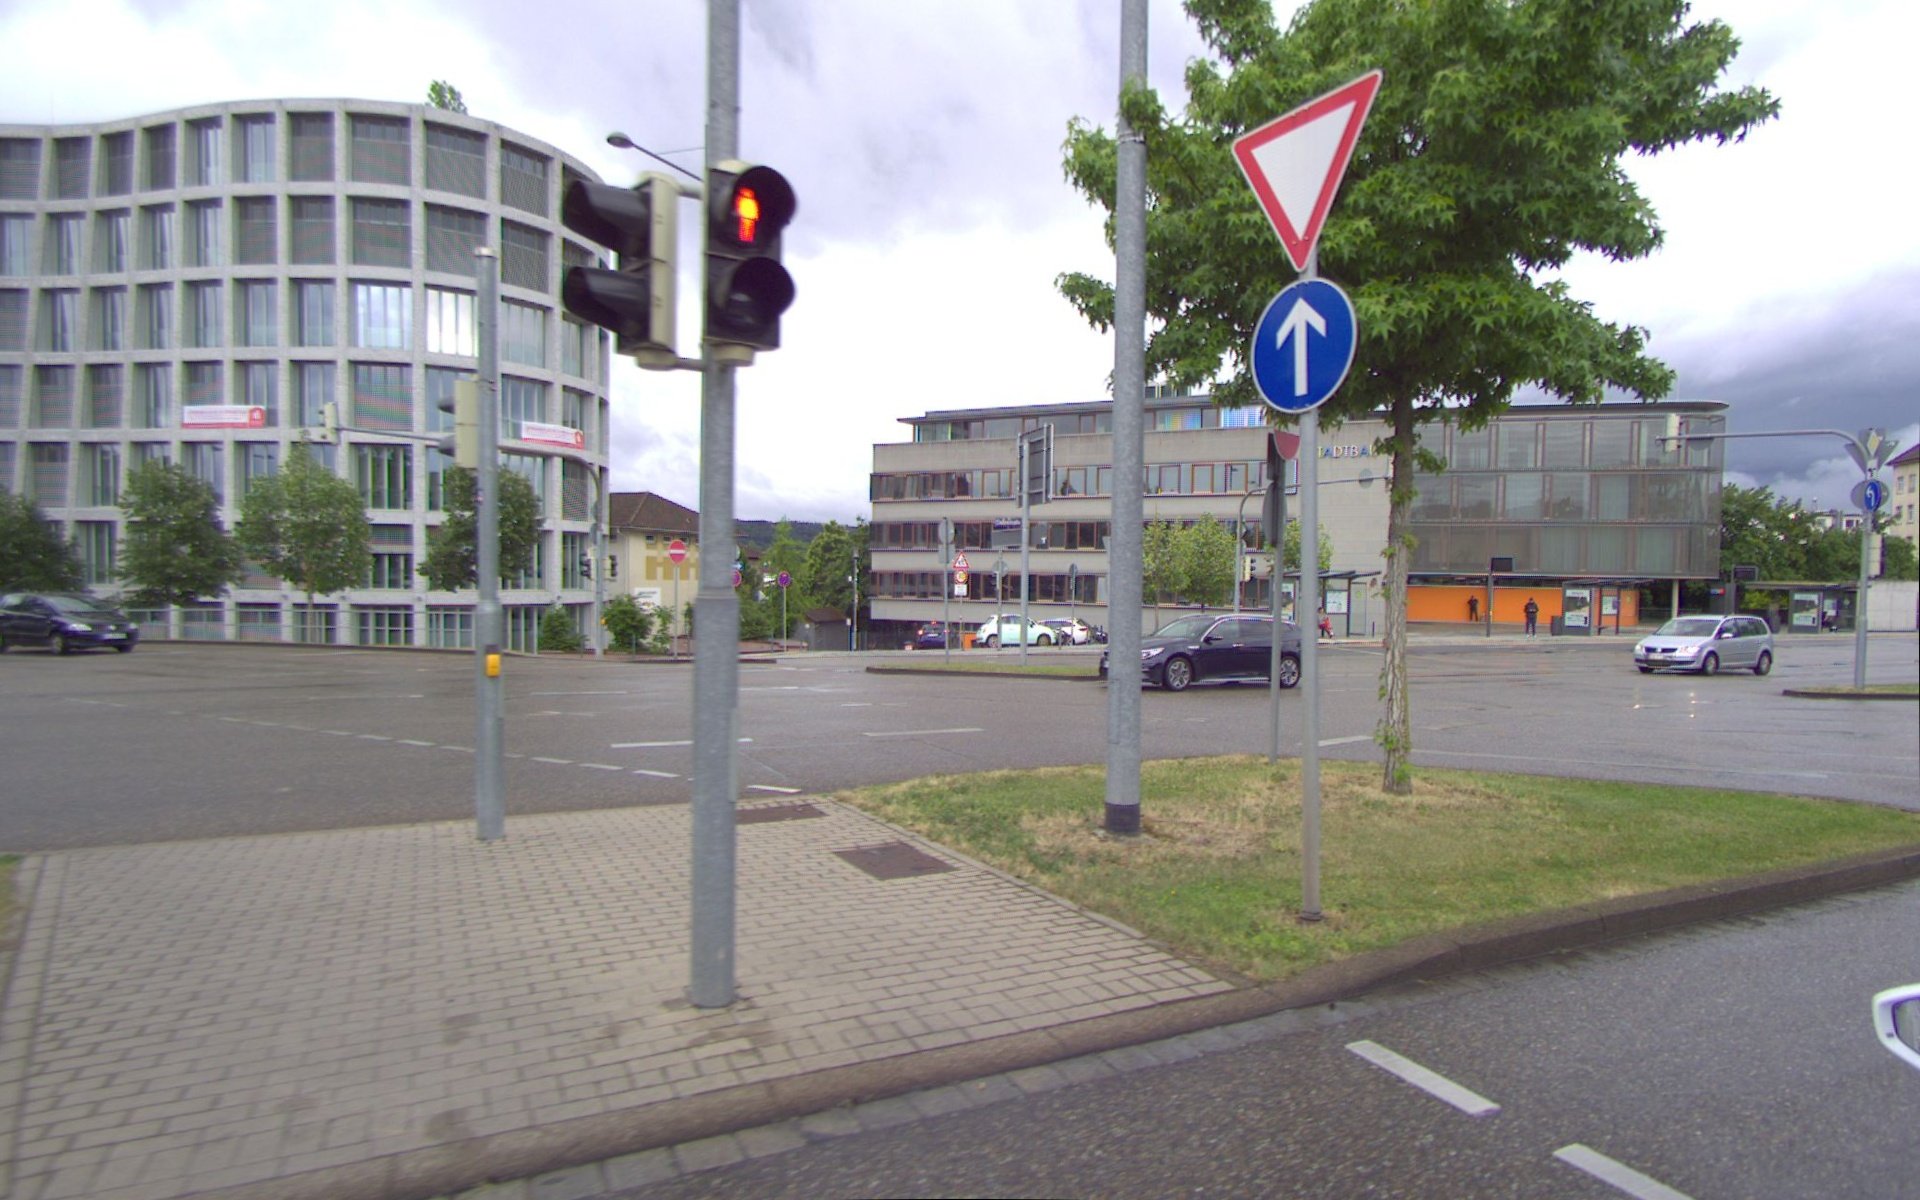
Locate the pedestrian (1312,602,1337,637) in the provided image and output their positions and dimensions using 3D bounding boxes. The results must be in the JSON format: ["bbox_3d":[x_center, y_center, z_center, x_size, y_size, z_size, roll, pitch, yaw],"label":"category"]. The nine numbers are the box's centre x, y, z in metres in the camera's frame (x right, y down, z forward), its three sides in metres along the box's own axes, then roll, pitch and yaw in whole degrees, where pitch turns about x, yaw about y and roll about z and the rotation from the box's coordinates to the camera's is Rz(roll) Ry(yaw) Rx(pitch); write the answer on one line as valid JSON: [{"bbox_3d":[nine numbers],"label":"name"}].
[{"bbox_3d":[15.098,0.794,41.614,0.712,1.411,0.675,1,0,-28],"label":"pedestrian"}]

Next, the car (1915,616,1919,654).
[{"bbox_3d":[42.346,1.478,42.256,3.978,1.573,1.817,1,0,-25],"label":"car"}]

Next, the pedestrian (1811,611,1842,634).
[{"bbox_3d":[49.898,1.292,57.854,0.833,1.285,0.978,0,4,-5],"label":"pedestrian"}]

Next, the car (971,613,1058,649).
[{"bbox_3d":[2.368,1.341,44.122,3.519,1.515,1.629,1,0,-11],"label":"car"}]

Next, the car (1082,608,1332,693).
[{"bbox_3d":[5.022,0.970,20.316,4.853,1.524,1.841,1,0,-26],"label":"car"}]

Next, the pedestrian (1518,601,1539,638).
[{"bbox_3d":[26.504,0.922,46.814,0.751,1.706,0.473,0,0,-20],"label":"pedestrian"}]

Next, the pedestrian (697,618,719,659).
[{"bbox_3d":[-10.061,1.542,40.075,0.696,1.604,0.668,1,0,-28],"label":"pedestrian"}]

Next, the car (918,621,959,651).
[{"bbox_3d":[-1.047,1.763,49.908,1.453,1.369,3.584,1,0,8],"label":"car"}]

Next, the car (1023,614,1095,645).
[{"bbox_3d":[5.150,1.505,51.928,3.509,1.515,1.634,0,0,13],"label":"car"}]

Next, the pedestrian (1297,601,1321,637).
[{"bbox_3d":[14.378,0.772,41.362,0.618,1.488,0.675,1,0,-28],"label":"pedestrian"}]

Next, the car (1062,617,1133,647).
[{"bbox_3d":[7.539,1.748,55.169,3.516,1.515,1.631,1,0,-8],"label":"car"}]

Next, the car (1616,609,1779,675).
[{"bbox_3d":[20.421,1.119,27.806,4.361,1.674,1.841,1,0,-27],"label":"car"}]

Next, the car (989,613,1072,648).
[{"bbox_3d":[3.217,1.398,46.307,3.519,1.515,1.629,1,0,-11],"label":"car"}]

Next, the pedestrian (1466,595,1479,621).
[{"bbox_3d":[33.662,0.553,66.011,0.630,1.706,0.476,0,0,5],"label":"pedestrian"}]

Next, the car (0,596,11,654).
[{"bbox_3d":[-28.496,0.662,27.706,3.761,1.589,1.729,1,0,17],"label":"car"}]

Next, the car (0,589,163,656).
[{"bbox_3d":[-22.856,0.545,25.918,3.761,1.589,1.729,1,0,17],"label":"car"}]

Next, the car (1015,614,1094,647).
[{"bbox_3d":[4.669,1.481,49.474,3.711,1.515,1.767,0,0,13],"label":"car"}]
